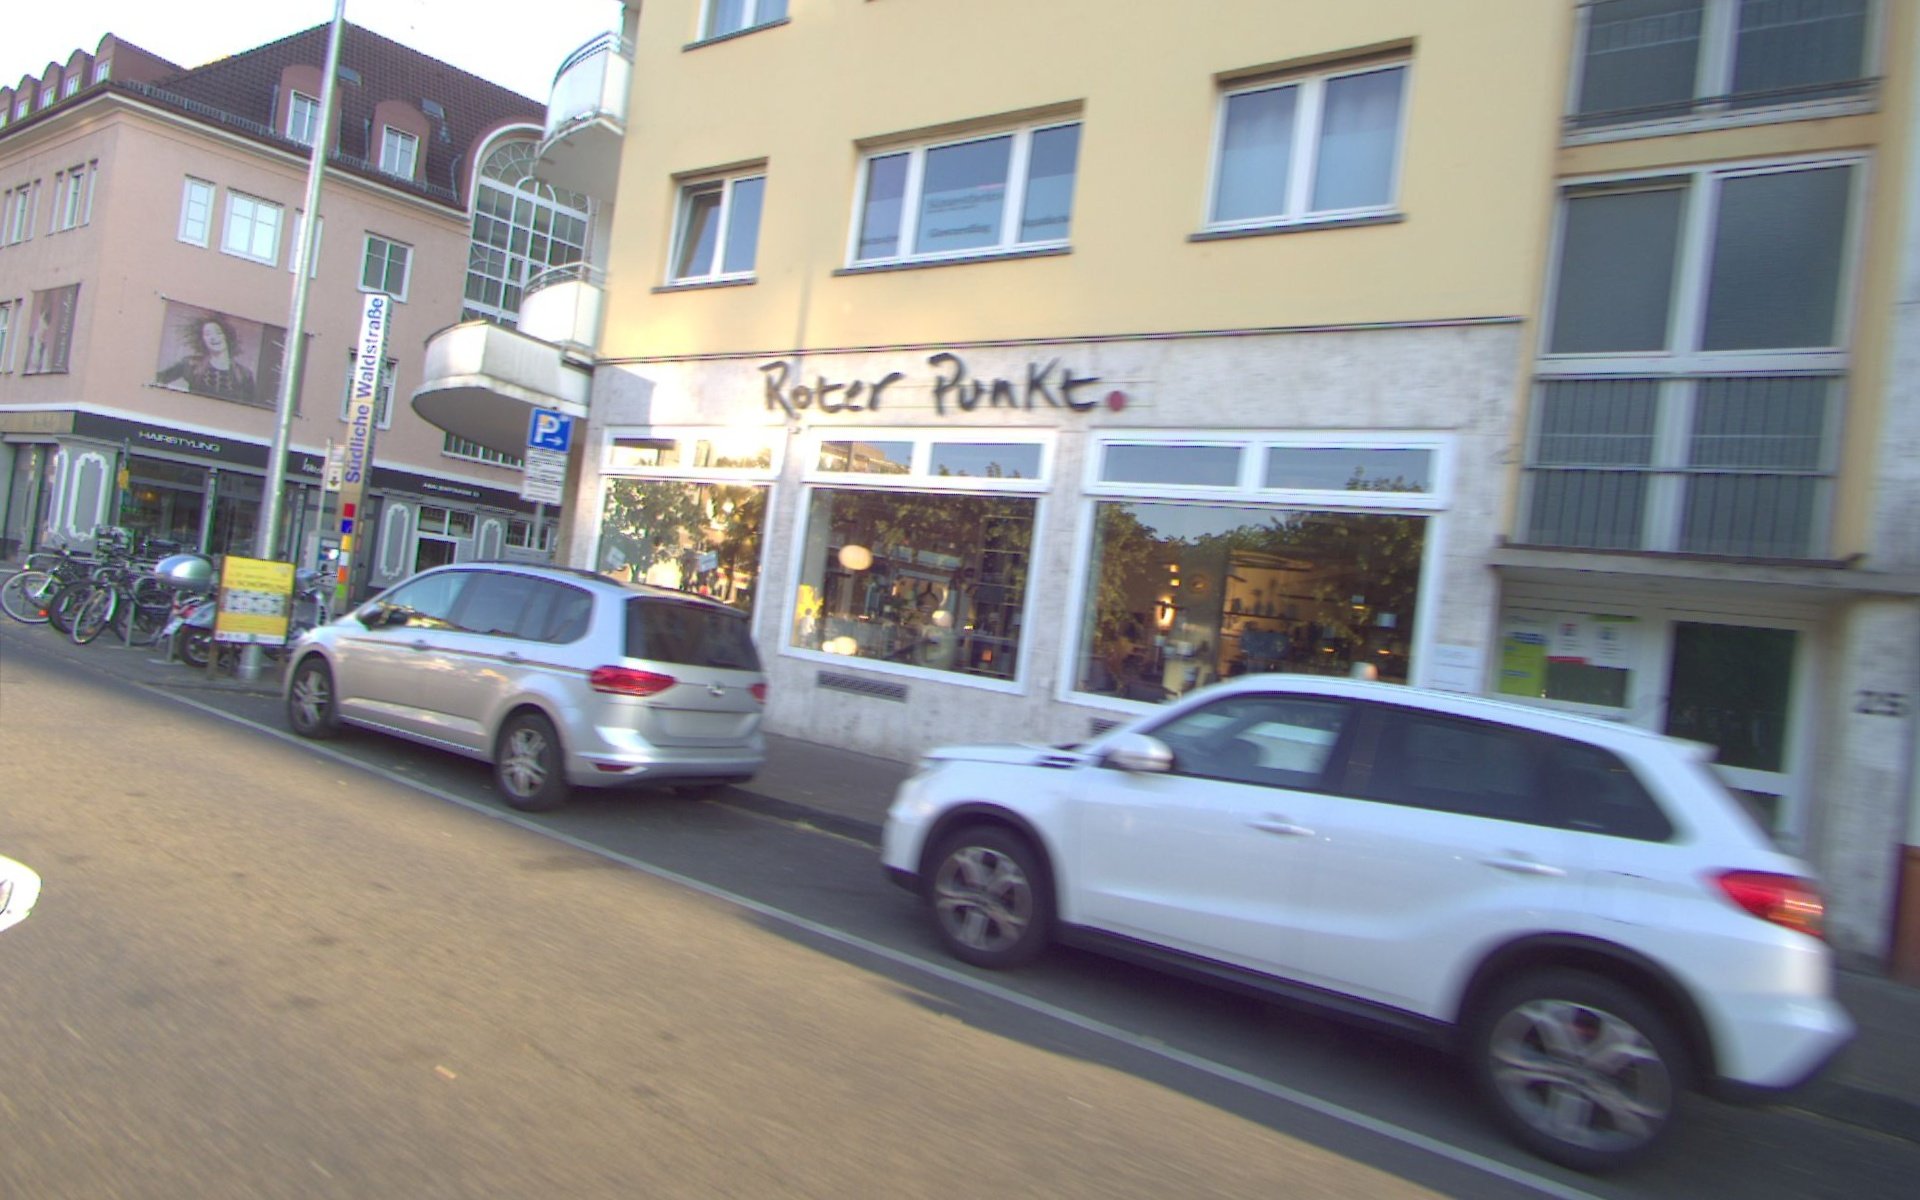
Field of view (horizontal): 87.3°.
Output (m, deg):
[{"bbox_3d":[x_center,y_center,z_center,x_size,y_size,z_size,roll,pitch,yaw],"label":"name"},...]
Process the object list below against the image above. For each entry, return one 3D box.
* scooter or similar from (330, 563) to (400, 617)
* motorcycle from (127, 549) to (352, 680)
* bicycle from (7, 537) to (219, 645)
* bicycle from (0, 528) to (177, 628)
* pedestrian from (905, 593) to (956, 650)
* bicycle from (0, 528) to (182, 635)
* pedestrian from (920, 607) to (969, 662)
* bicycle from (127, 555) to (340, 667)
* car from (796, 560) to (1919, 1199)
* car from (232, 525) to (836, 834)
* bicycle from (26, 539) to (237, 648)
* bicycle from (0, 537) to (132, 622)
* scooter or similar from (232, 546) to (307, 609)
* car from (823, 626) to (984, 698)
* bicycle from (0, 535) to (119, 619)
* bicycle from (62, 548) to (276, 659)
[{"bbox_3d":[-15.200,-0.239,25.713,0.502,1.177,1.315,6,-3,43],"label":"scooter or similar"},{"bbox_3d":[-7.957,0.204,11.203,0.704,1.278,1.816,7,-1,29],"label":"motorcycle"},{"bbox_3d":[-10.792,-0.080,12.900,0.591,1.125,1.889,7,-2,29],"label":"bicycle"},{"bbox_3d":[-12.182,-0.284,13.924,0.749,1.125,1.890,7,-2,28],"label":"bicycle"},{"bbox_3d":[-1.022,0.747,34.701,1.180,1.783,1.132,8,-1,-34],"label":"pedestrian"},{"bbox_3d":[-11.631,-0.226,13.307,0.710,1.181,1.889,7,-2,28],"label":"bicycle"},{"bbox_3d":[-0.560,1.240,35.998,1.148,1.783,1.132,8,-1,-34],"label":"pedestrian"},{"bbox_3d":[-8.532,0.172,11.921,0.583,1.125,1.888,7,-1,29],"label":"bicycle"},{"bbox_3d":[1.556,1.023,5.005,4.334,1.782,1.871,8,-1,32],"label":"car"},{"bbox_3d":[-3.579,0.497,8.220,4.723,1.631,1.998,6,-2,31],"label":"car"},{"bbox_3d":[-10.332,-0.045,12.638,0.512,1.125,1.889,7,-3,29],"label":"bicycle"},{"bbox_3d":[-12.736,-0.282,14.162,0.503,1.038,1.503,7,-1,27],"label":"bicycle"},{"bbox_3d":[-16.195,-0.516,23.611,1.310,1.279,0.519,9,-2,-37],"label":"scooter or similar"},{"bbox_3d":[-1.544,1.744,28.097,3.970,1.473,1.930,9,-2,-38],"label":"car"},{"bbox_3d":[-13.142,-0.335,14.413,0.504,1.027,1.504,7,-2,29],"label":"bicycle"},{"bbox_3d":[-9.590,0.081,12.296,0.583,1.125,1.889,5,-3,28],"label":"bicycle"}]
